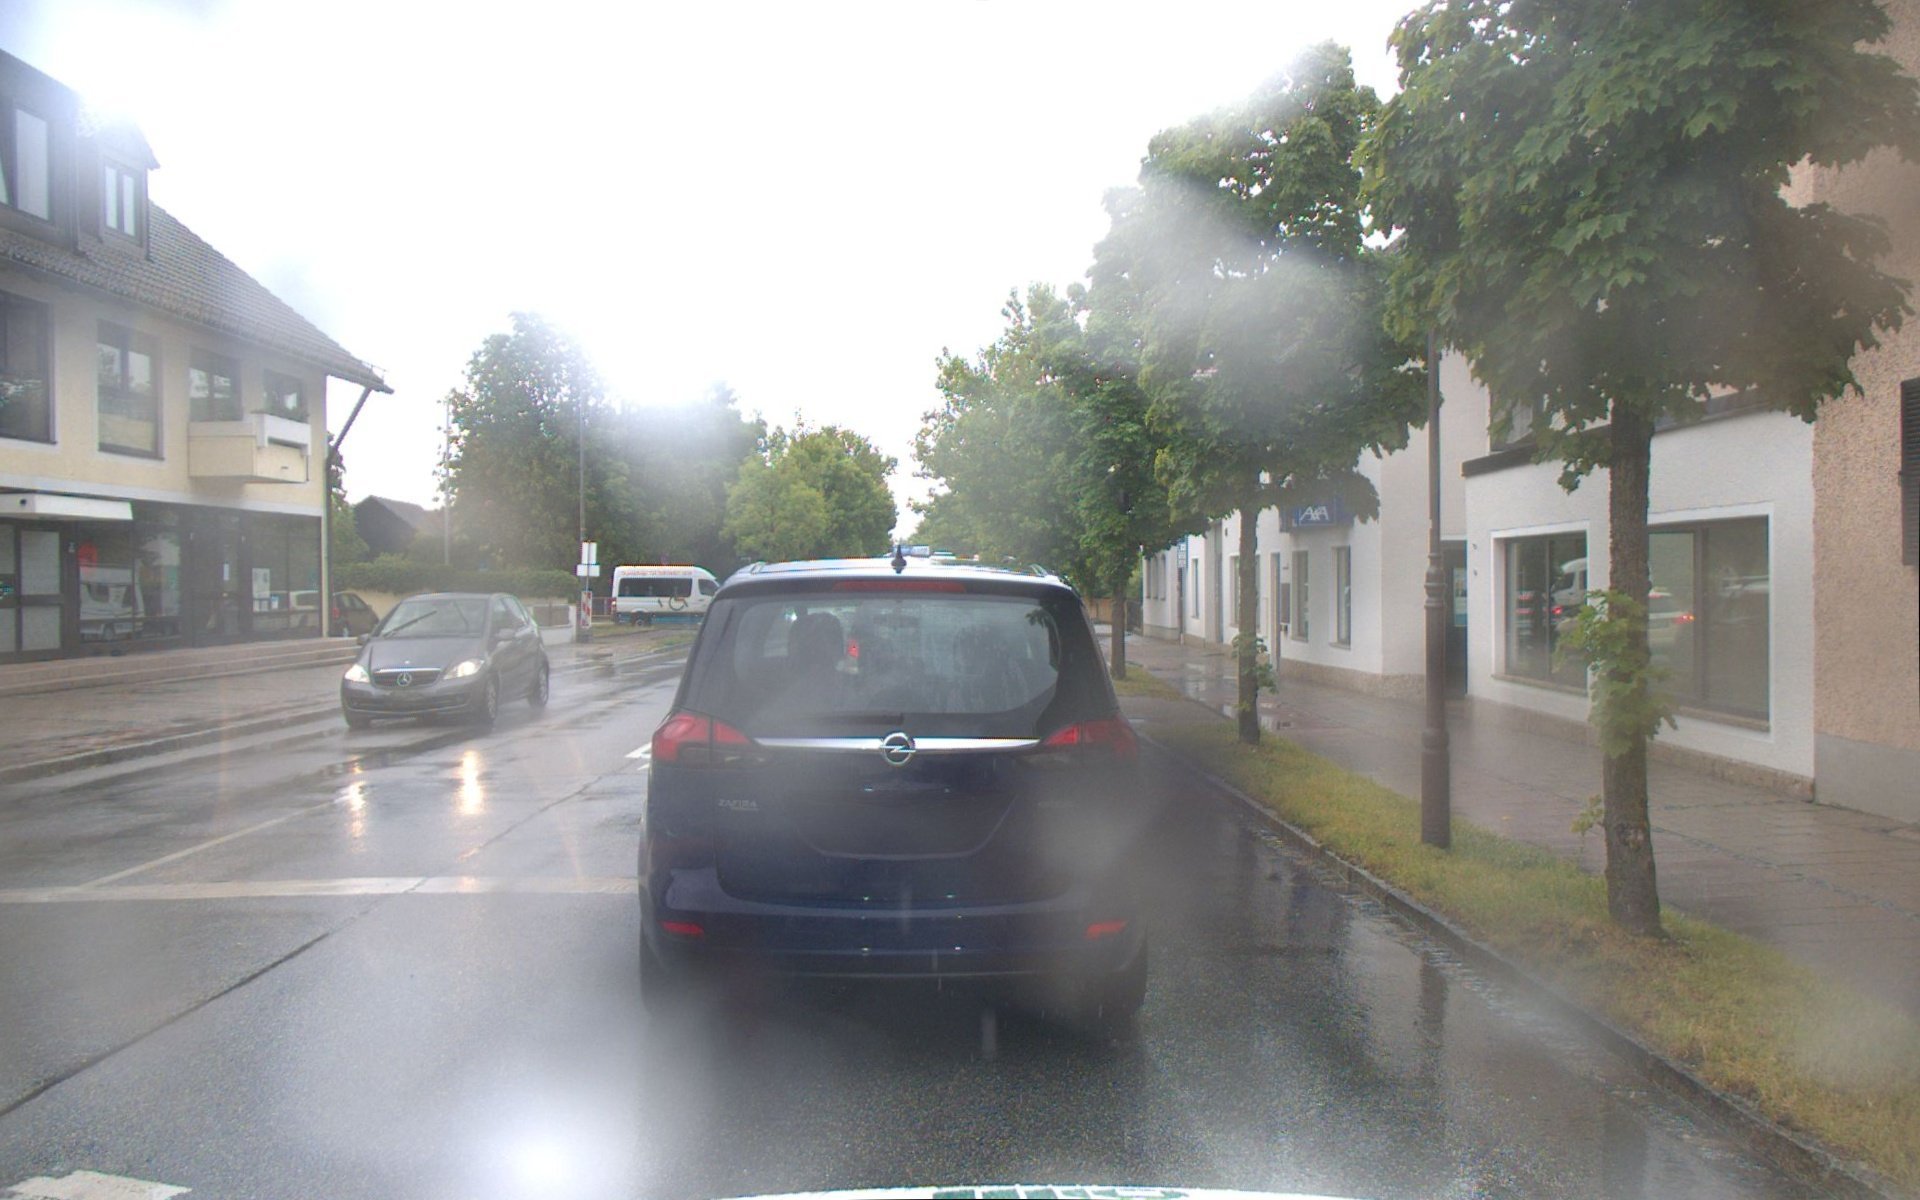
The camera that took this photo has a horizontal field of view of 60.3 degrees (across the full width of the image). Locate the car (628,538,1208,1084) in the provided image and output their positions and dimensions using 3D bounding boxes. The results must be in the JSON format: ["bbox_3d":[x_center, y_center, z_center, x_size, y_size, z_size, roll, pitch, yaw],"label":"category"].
[{"bbox_3d":[-0.148,0.639,6.867,1.733,1.632,3.662,1,0,-1],"label":"car"}]

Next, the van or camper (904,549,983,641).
[{"bbox_3d":[-0.529,-0.168,51.927,2.312,2.712,5.370,0,0,-1],"label":"van or camper"}]

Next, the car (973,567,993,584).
[{"bbox_3d":[1.972,-2.104,141.459,1.597,1.402,3.622,-1,0,-1],"label":"car"}]

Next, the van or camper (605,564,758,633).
[{"bbox_3d":[-11.468,-0.065,68.513,6.127,2.754,2.098,0,0,-6],"label":"van or camper"}]

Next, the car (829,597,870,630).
[{"bbox_3d":[-5.614,0.653,84.197,1.887,1.594,4.125,-1,0,-1],"label":"car"}]

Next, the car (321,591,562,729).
[{"bbox_3d":[-6.473,0.689,21.115,1.877,1.560,3.898,-1,0,-1],"label":"car"}]

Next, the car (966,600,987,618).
[{"bbox_3d":[1.299,0.697,132.235,1.597,1.402,3.622,1,0,-1],"label":"car"}]

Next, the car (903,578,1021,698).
[{"bbox_3d":[0.006,0.539,25.891,1.720,1.736,3.618,0,0,-1],"label":"car"}]

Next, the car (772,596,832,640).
[{"bbox_3d":[-6.030,0.677,63.564,1.927,1.590,4.151,-1,0,-1],"label":"car"}]

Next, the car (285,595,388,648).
[{"bbox_3d":[-17.585,0.577,46.814,1.574,1.404,3.508,-1,0,0],"label":"car"}]

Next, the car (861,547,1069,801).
[{"bbox_3d":[0.014,0.529,13.520,1.470,1.807,3.111,1,0,-1],"label":"car"}]

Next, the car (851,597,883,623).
[{"bbox_3d":[-5.822,0.598,104.167,1.716,1.538,4.230,-2,0,0],"label":"car"}]

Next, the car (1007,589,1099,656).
[{"bbox_3d":[2.393,0.568,43.386,2.075,1.609,3.934,1,0,-2],"label":"car"}]
